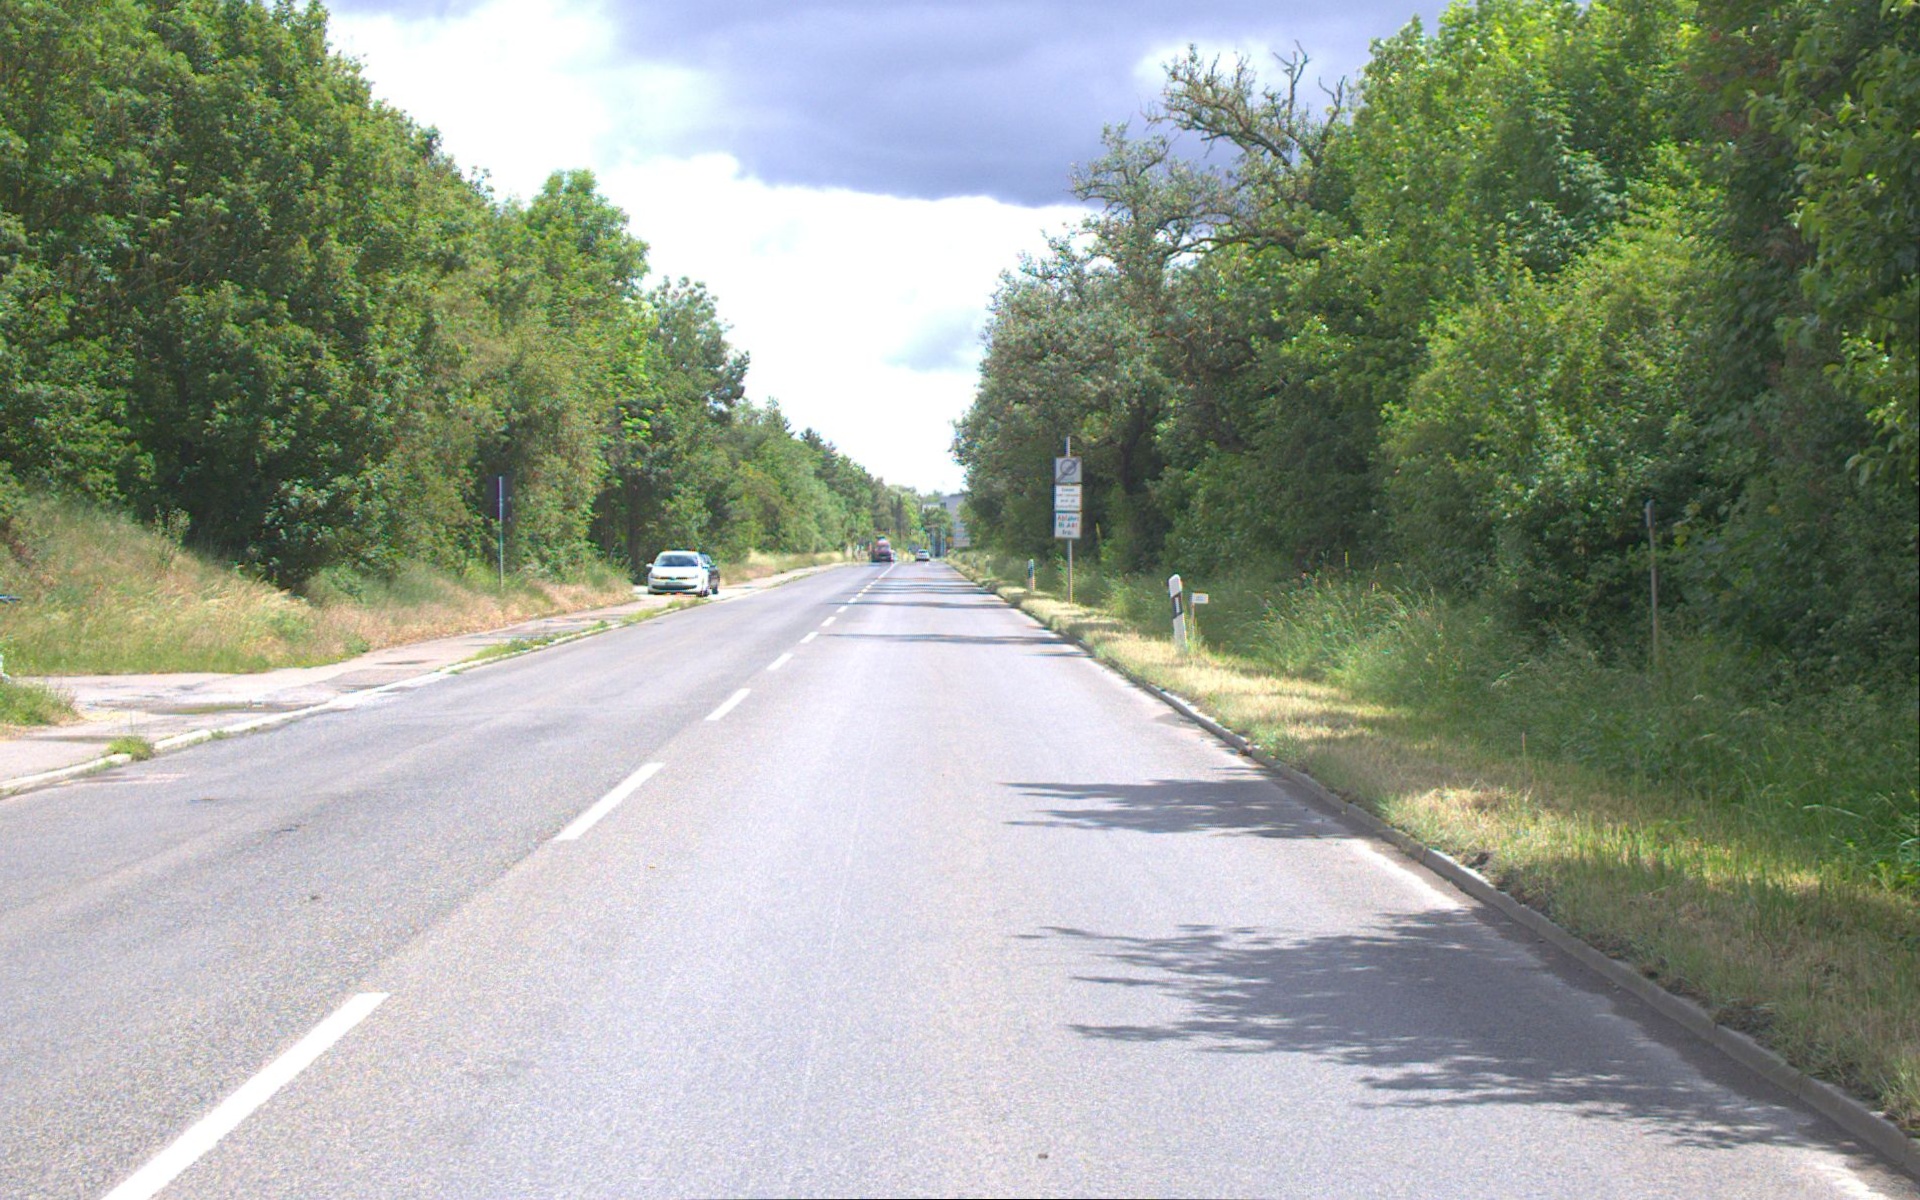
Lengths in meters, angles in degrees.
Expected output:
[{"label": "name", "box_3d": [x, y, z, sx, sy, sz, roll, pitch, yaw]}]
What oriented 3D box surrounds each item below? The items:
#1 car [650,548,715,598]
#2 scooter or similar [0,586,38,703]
[{"label": "car", "box_3d": [-8.912, -0.869, 110.669, 1.798, 1.538, 3.955, -1, 0, -1]}, {"label": "scooter or similar", "box_3d": [-9.977, 0.446, 35.260, 0.406, 1.164, 1.350, -1, 1, -44]}]
